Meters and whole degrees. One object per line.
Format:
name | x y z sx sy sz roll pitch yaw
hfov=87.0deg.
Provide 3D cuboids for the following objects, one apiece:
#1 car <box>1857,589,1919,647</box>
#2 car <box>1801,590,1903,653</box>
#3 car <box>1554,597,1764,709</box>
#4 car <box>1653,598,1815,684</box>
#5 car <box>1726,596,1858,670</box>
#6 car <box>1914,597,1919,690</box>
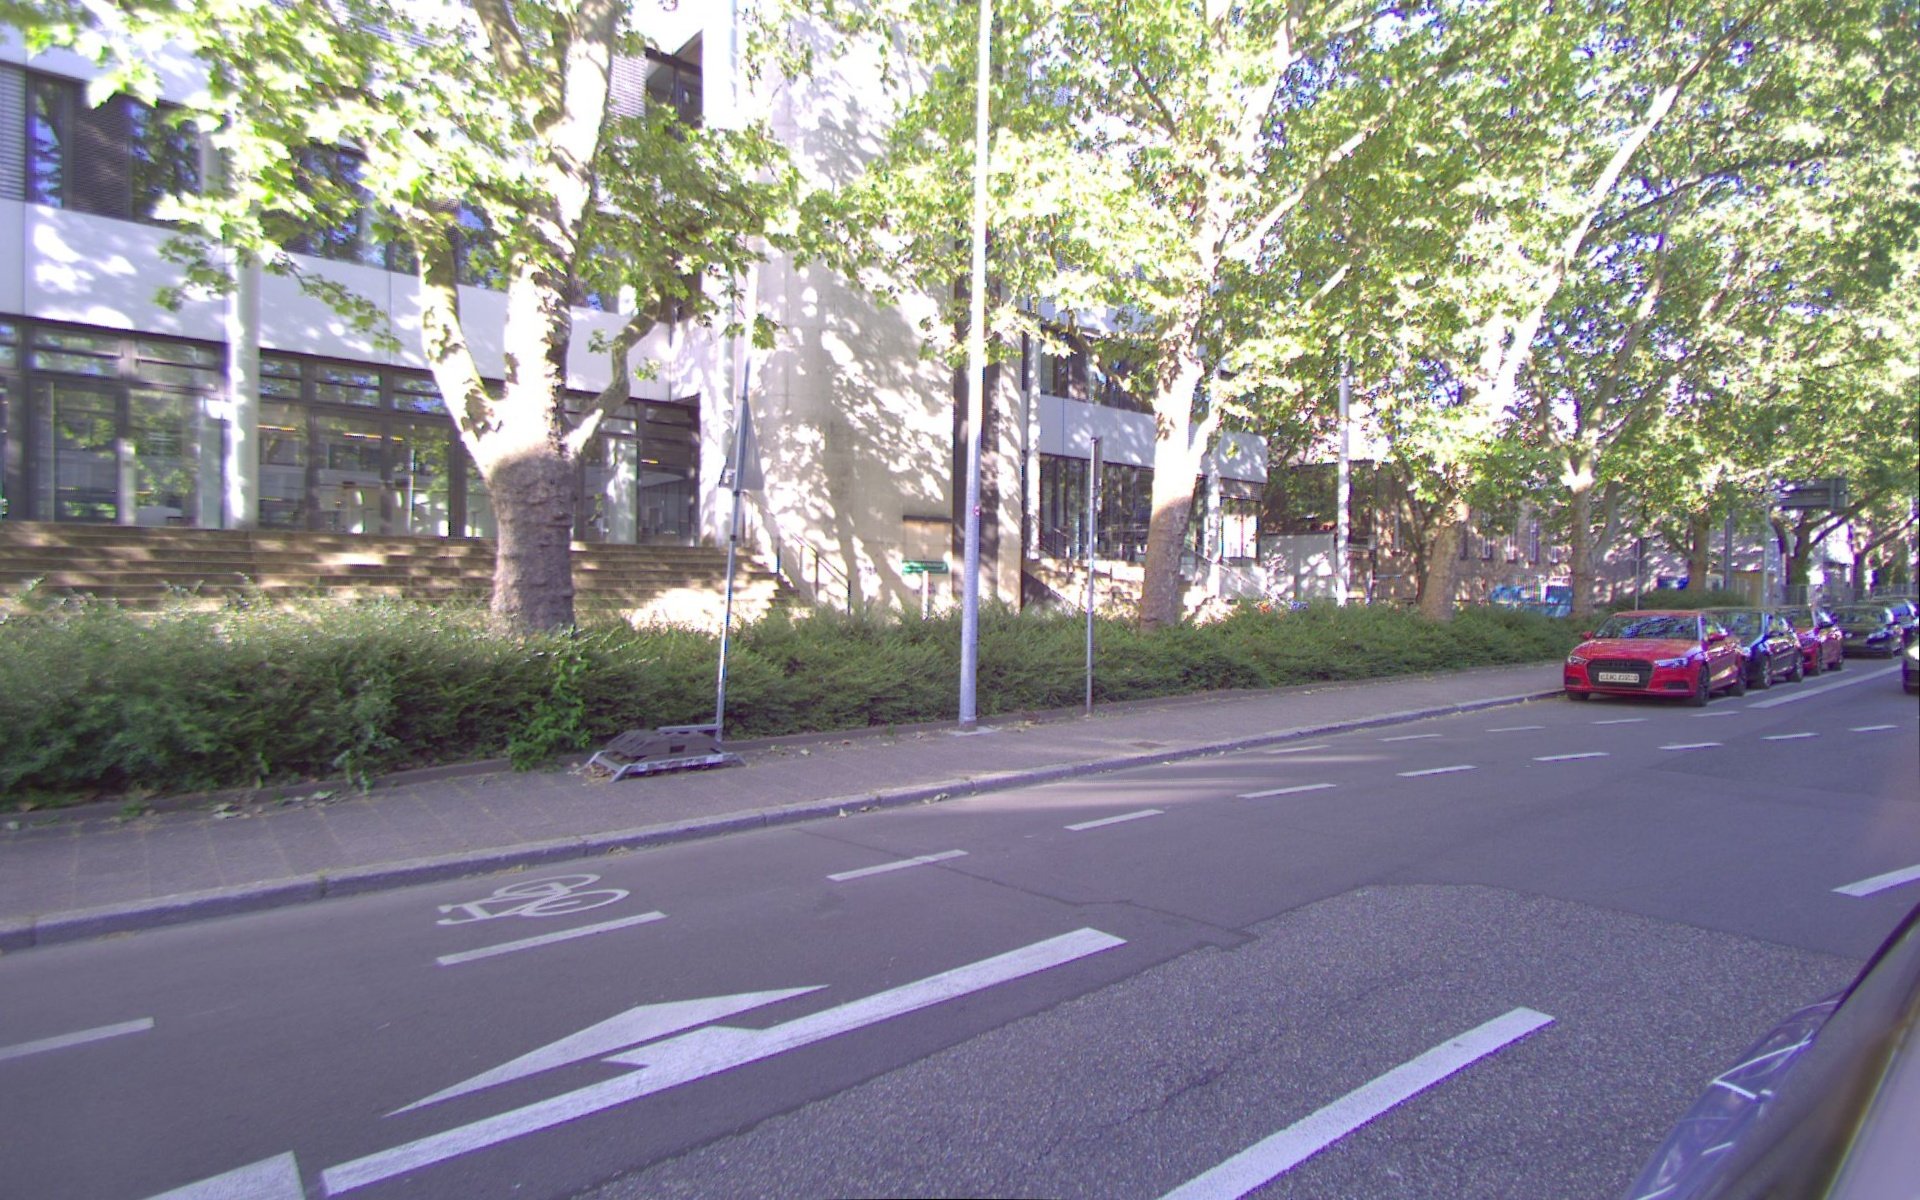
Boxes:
car | 29.601 0.525 31.838 3.840 1.708 1.633 0 1 -42
car | 25.623 0.566 29.037 4.022 1.653 1.739 0 1 -42
car | 11.224 0.756 16.154 4.071 1.548 1.827 0 -1 -42
car | 14.997 0.725 19.530 4.022 1.472 1.739 0 -1 -42
car | 18.590 0.678 22.561 3.851 1.511 1.679 0 -1 -42
car | 17.566 0.663 16.887 4.587 1.483 1.916 0 -1 -41
